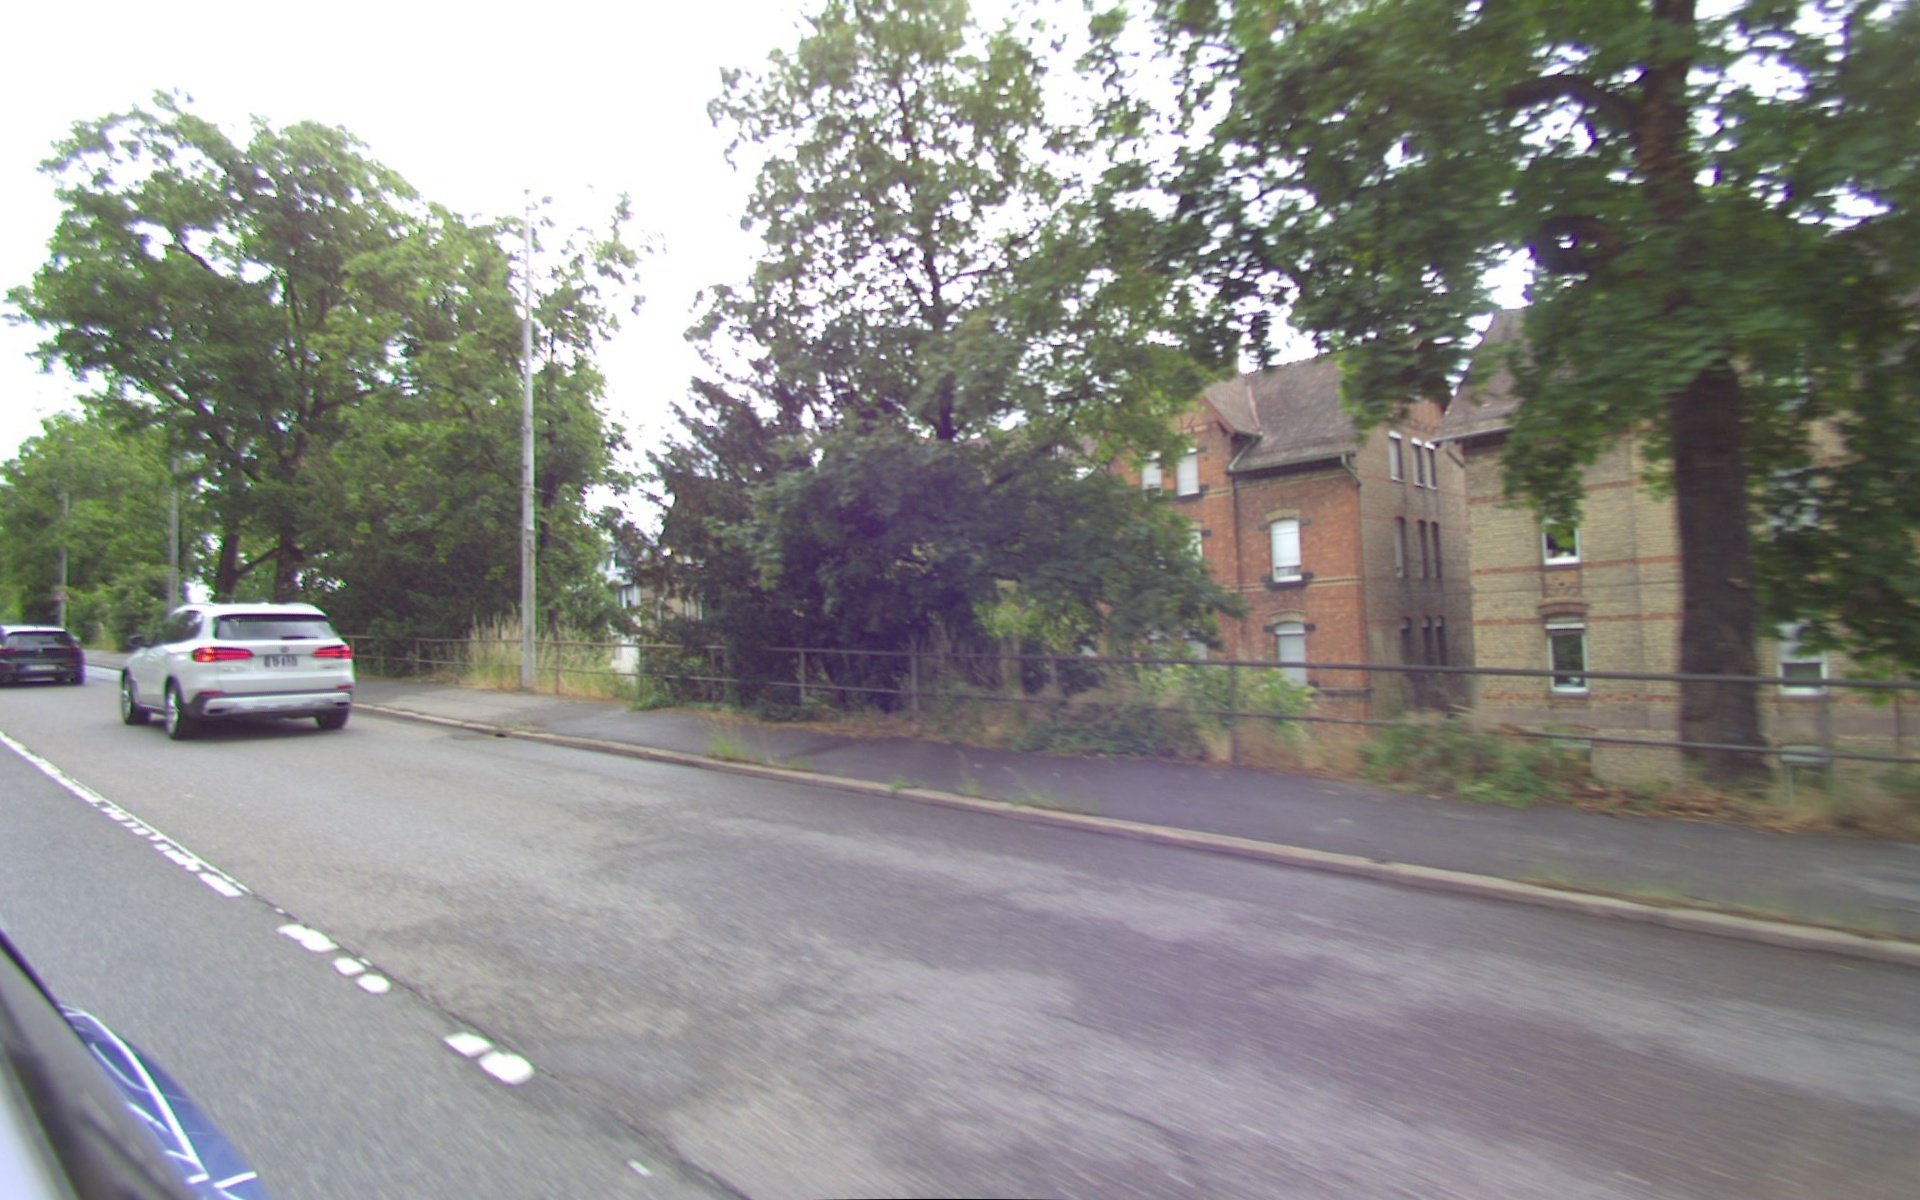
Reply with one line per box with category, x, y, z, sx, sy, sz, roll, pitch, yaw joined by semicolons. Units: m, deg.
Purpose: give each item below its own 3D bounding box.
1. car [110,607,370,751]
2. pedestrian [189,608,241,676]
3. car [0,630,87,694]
car;-10.234;0.991;14.247;4.661;1.696;1.974;-2;-2;41
pedestrian;-20.347;1.132;27.638;1.207;1.787;0.781;-2;1;39
car;-22.741;1.445;24.590;4.136;1.438;1.695;-1;-2;40
